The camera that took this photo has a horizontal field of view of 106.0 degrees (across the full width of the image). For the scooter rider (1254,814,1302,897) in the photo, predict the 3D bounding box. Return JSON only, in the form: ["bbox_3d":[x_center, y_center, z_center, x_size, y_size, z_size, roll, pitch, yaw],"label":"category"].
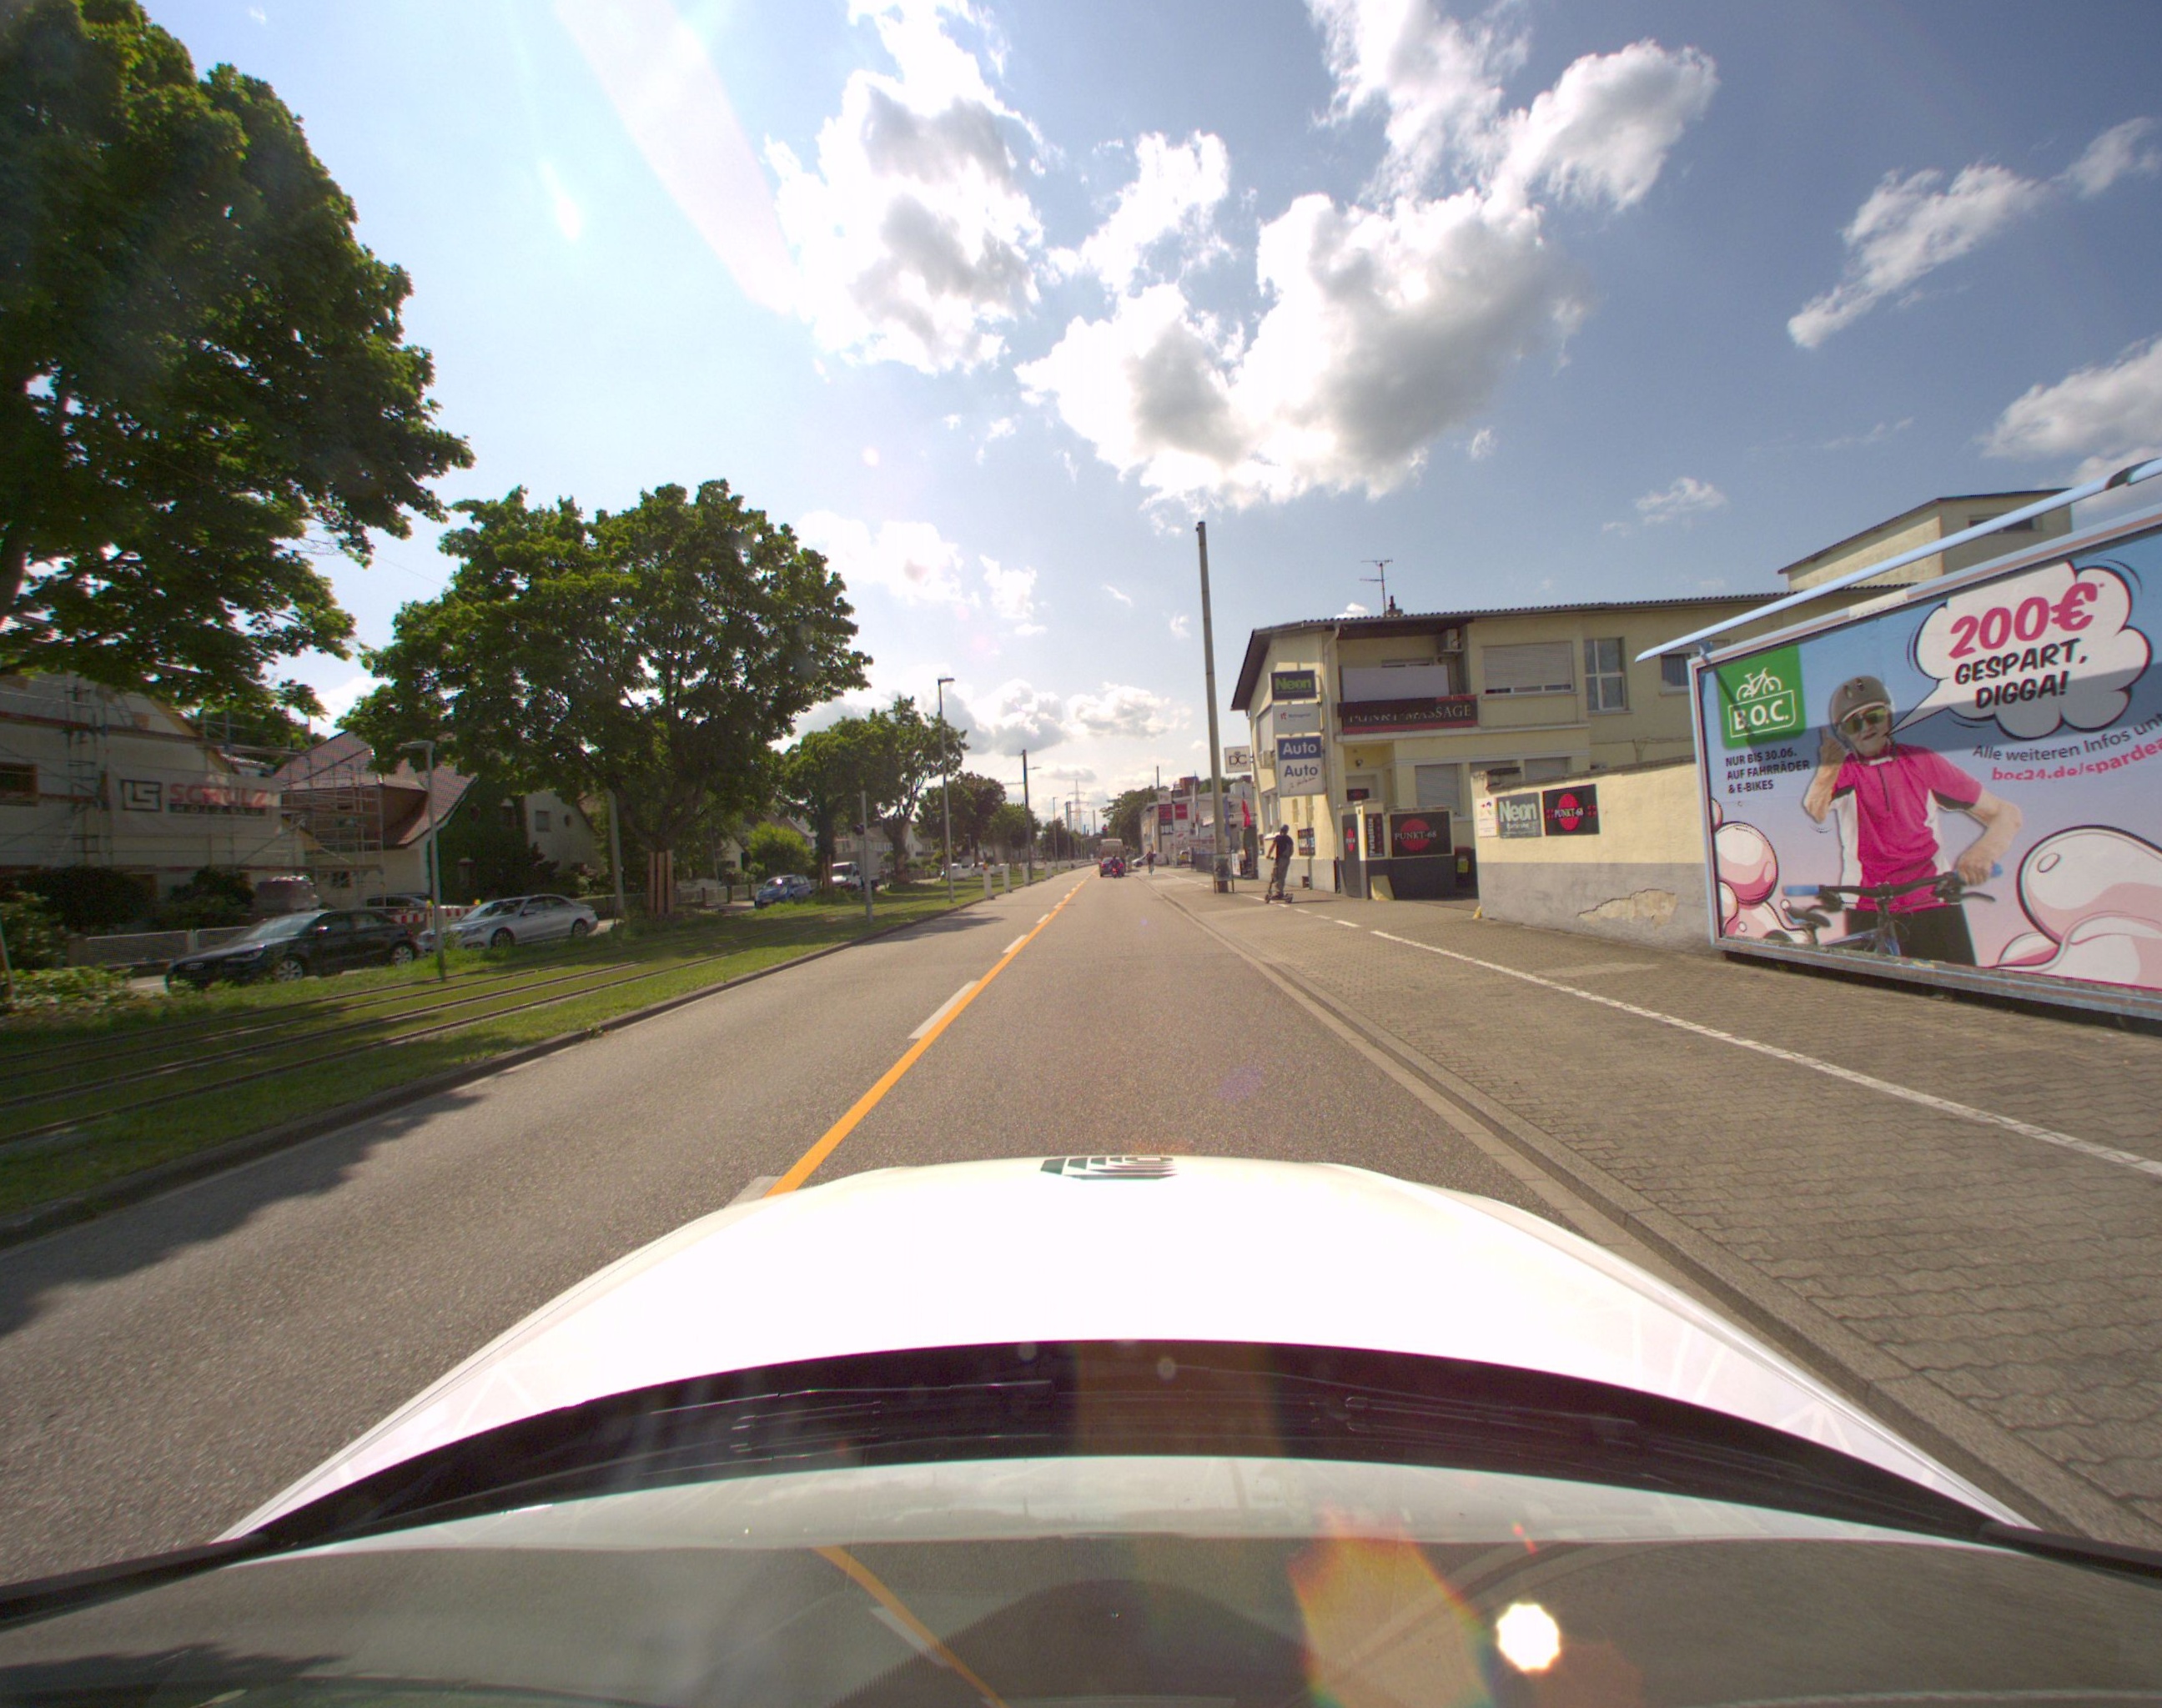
[{"bbox_3d":[4.915,0.041,20.329,0.717,1.963,0.783,-7,-1,-7],"label":"scooter rider"}]

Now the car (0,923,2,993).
[{"bbox_3d":[-23.773,2.156,15.472,3.972,1.401,1.983,-2,-1,2],"label":"car"}]

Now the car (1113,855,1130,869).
[{"bbox_3d":[4.579,0.914,91.537,1.814,1.464,4.003,-3,0,3],"label":"car"}]

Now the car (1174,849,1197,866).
[{"bbox_3d":[11.412,0.440,88.950,1.953,1.648,3.999,-4,-1,0],"label":"car"}]

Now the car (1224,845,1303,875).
[{"bbox_3d":[10.211,0.331,45.770,4.159,1.431,1.825,-4,-1,9],"label":"car"}]

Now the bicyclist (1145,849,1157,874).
[{"bbox_3d":[5.034,0.542,58.606,0.669,1.744,0.814,-3,-1,1],"label":"bicyclist"}]

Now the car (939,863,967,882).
[{"bbox_3d":[-13.201,1.920,83.946,1.986,1.750,4.002,-4,-1,2],"label":"car"}]

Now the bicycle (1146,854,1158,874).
[{"bbox_3d":[5.092,0.735,58.598,0.690,1.361,2.419,-3,0,2],"label":"bicycle"}]

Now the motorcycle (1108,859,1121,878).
[{"bbox_3d":[2.380,1.016,57.896,0.935,1.320,2.646,-1,-1,2],"label":"motorcycle"}]

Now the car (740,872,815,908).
[{"bbox_3d":[-14.509,1.685,39.136,1.987,1.453,3.999,-4,-1,0],"label":"car"}]

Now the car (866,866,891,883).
[{"bbox_3d":[-22.003,2.259,88.647,1.678,1.722,3.031,-4,-1,2],"label":"car"}]

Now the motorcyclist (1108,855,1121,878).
[{"bbox_3d":[2.373,0.861,57.717,0.936,1.615,1.205,-1,-1,2],"label":"motorcyclist"}]

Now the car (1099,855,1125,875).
[{"bbox_3d":[2.371,0.831,62.376,1.815,1.424,4.002,-3,0,2],"label":"car"}]

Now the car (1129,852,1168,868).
[{"bbox_3d":[8.250,0.753,99.714,4.325,1.551,1.945,-4,-1,-7],"label":"car"}]

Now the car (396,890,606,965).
[{"bbox_3d":[-15.094,1.845,21.624,1.798,1.482,4.942,-4,-1,2],"label":"car"}]

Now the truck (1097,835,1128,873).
[{"bbox_3d":[3.043,-0.035,78.537,2.600,3.255,9.189,-4,1,3],"label":"truck"}]

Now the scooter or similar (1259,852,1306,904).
[{"bbox_3d":[4.954,0.583,20.138,0.540,1.195,1.608,-5,-1,-5],"label":"scooter or similar"}]

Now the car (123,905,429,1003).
[{"bbox_3d":[-15.432,1.848,15.974,1.986,1.317,3.854,-6,-1,2],"label":"car"}]

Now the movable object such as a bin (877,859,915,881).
[{"bbox_3d":[-23.582,2.040,103.794,4.351,2.449,1.777,-3,-1,-20],"label":"movable object such as a bin"}]

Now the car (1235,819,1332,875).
[{"bbox_3d":[10.581,-0.333,42.779,4.517,2.573,2.153,-4,-1,3],"label":"car"}]

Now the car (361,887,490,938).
[{"bbox_3d":[-26.436,2.342,32.935,3.634,1.684,1.874,-4,-1,1],"label":"car"}]

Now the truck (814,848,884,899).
[{"bbox_3d":[-14.152,1.130,50.139,1.986,2.767,6.279,-6,0,2],"label":"truck"}]
